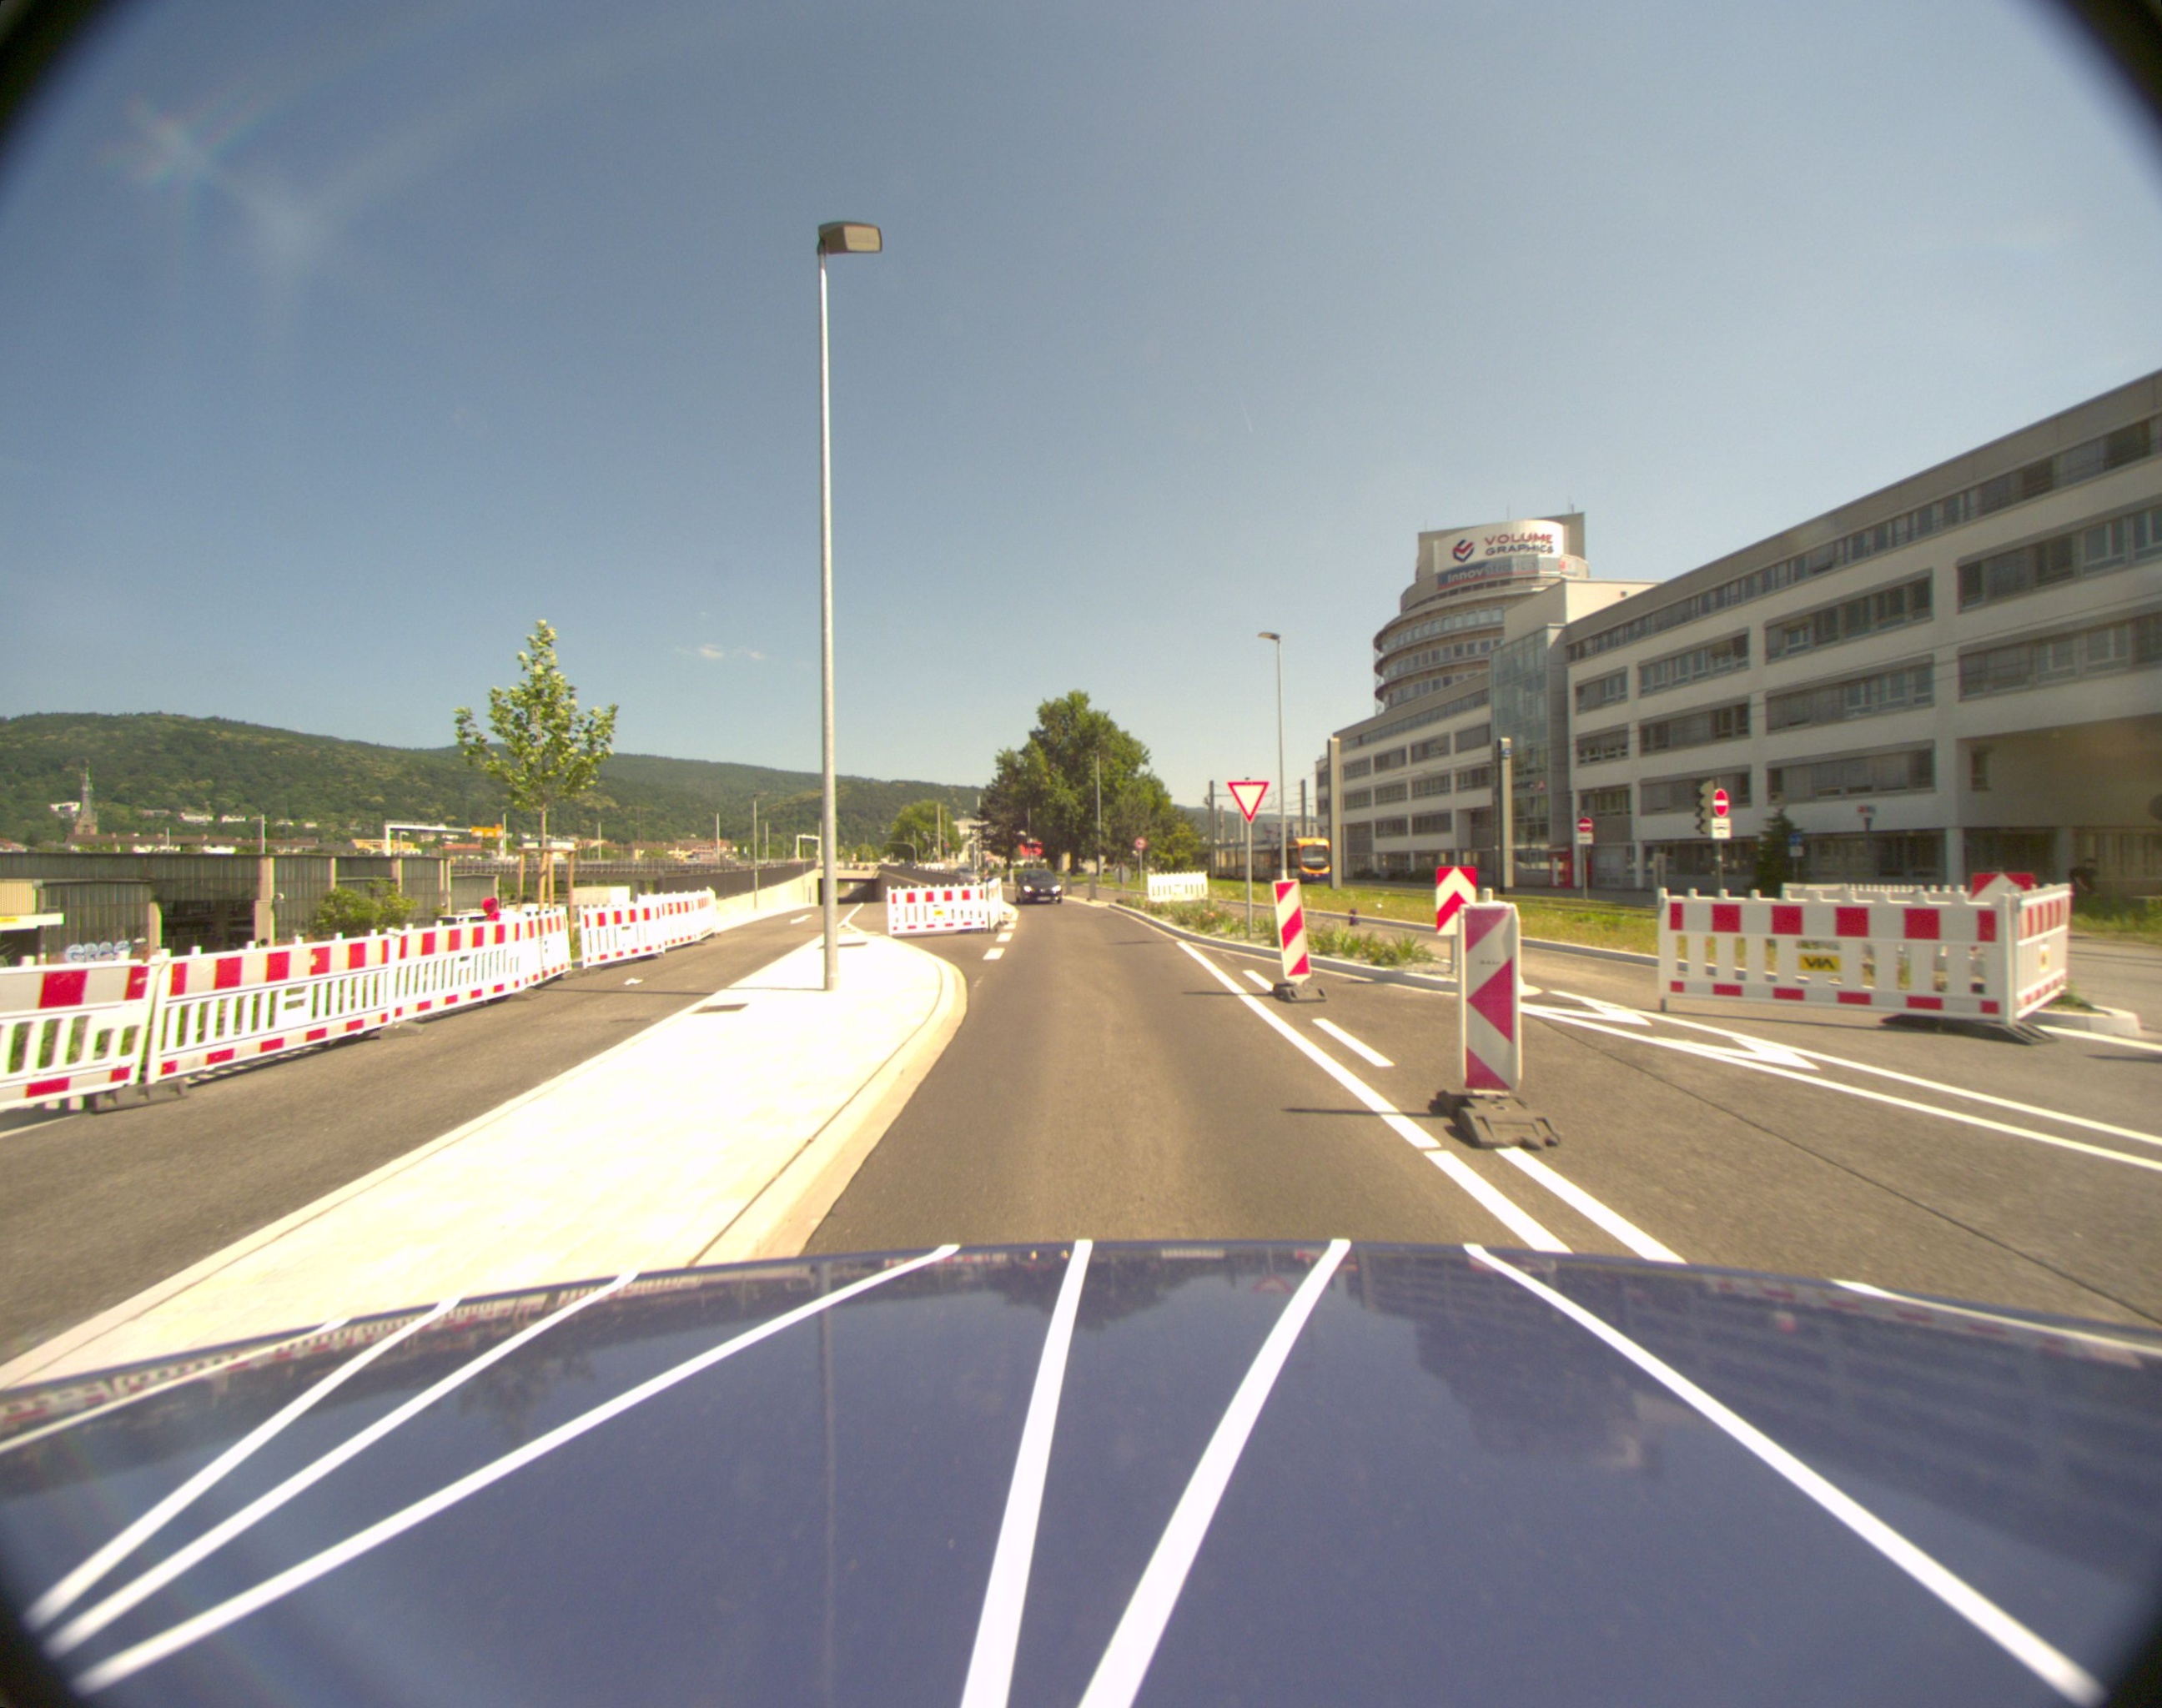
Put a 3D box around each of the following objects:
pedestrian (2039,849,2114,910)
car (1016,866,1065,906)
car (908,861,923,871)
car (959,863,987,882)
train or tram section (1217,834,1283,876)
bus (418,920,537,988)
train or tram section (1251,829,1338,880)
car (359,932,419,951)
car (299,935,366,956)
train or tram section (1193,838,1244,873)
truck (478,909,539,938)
[{"bbox_3d":[30.934,0.774,23.618,0.767,1.815,1.108,-3,0,-6],"label":"pedestrian"},{"bbox_3d":[-1.746,1.276,31.452,1.620,1.433,3.703,-1,0,-9],"label":"car"},{"bbox_3d":[-24.122,1.718,110.435,1.621,1.433,3.761,-1,0,-19],"label":"car"},{"bbox_3d":[-8.710,1.439,61.071,1.621,1.433,3.762,-1,0,-16],"label":"car"},{"bbox_3d":[15.428,0.095,70.442,2.632,3.430,11.777,-3,0,-4],"label":"train or tram section"},{"bbox_3d":[-46.002,7.431,58.549,2.553,3.510,12.522,-2,1,-17],"label":"bus"},{"bbox_3d":[16.151,0.051,58.684,2.632,3.430,11.777,-3,0,-4],"label":"train or tram section"},{"bbox_3d":[-72.144,9.072,79.293,4.369,1.576,1.745,-2,1,-8],"label":"car"},{"bbox_3d":[-71.618,8.767,72.769,4.369,1.576,1.745,-2,1,-8],"label":"car"},{"bbox_3d":[14.693,0.136,82.186,2.632,3.430,11.777,-3,0,-4],"label":"train or tram section"},{"bbox_3d":[-71.573,8.683,95.204,2.000,2.741,8.388,-2,1,-7],"label":"truck"}]
